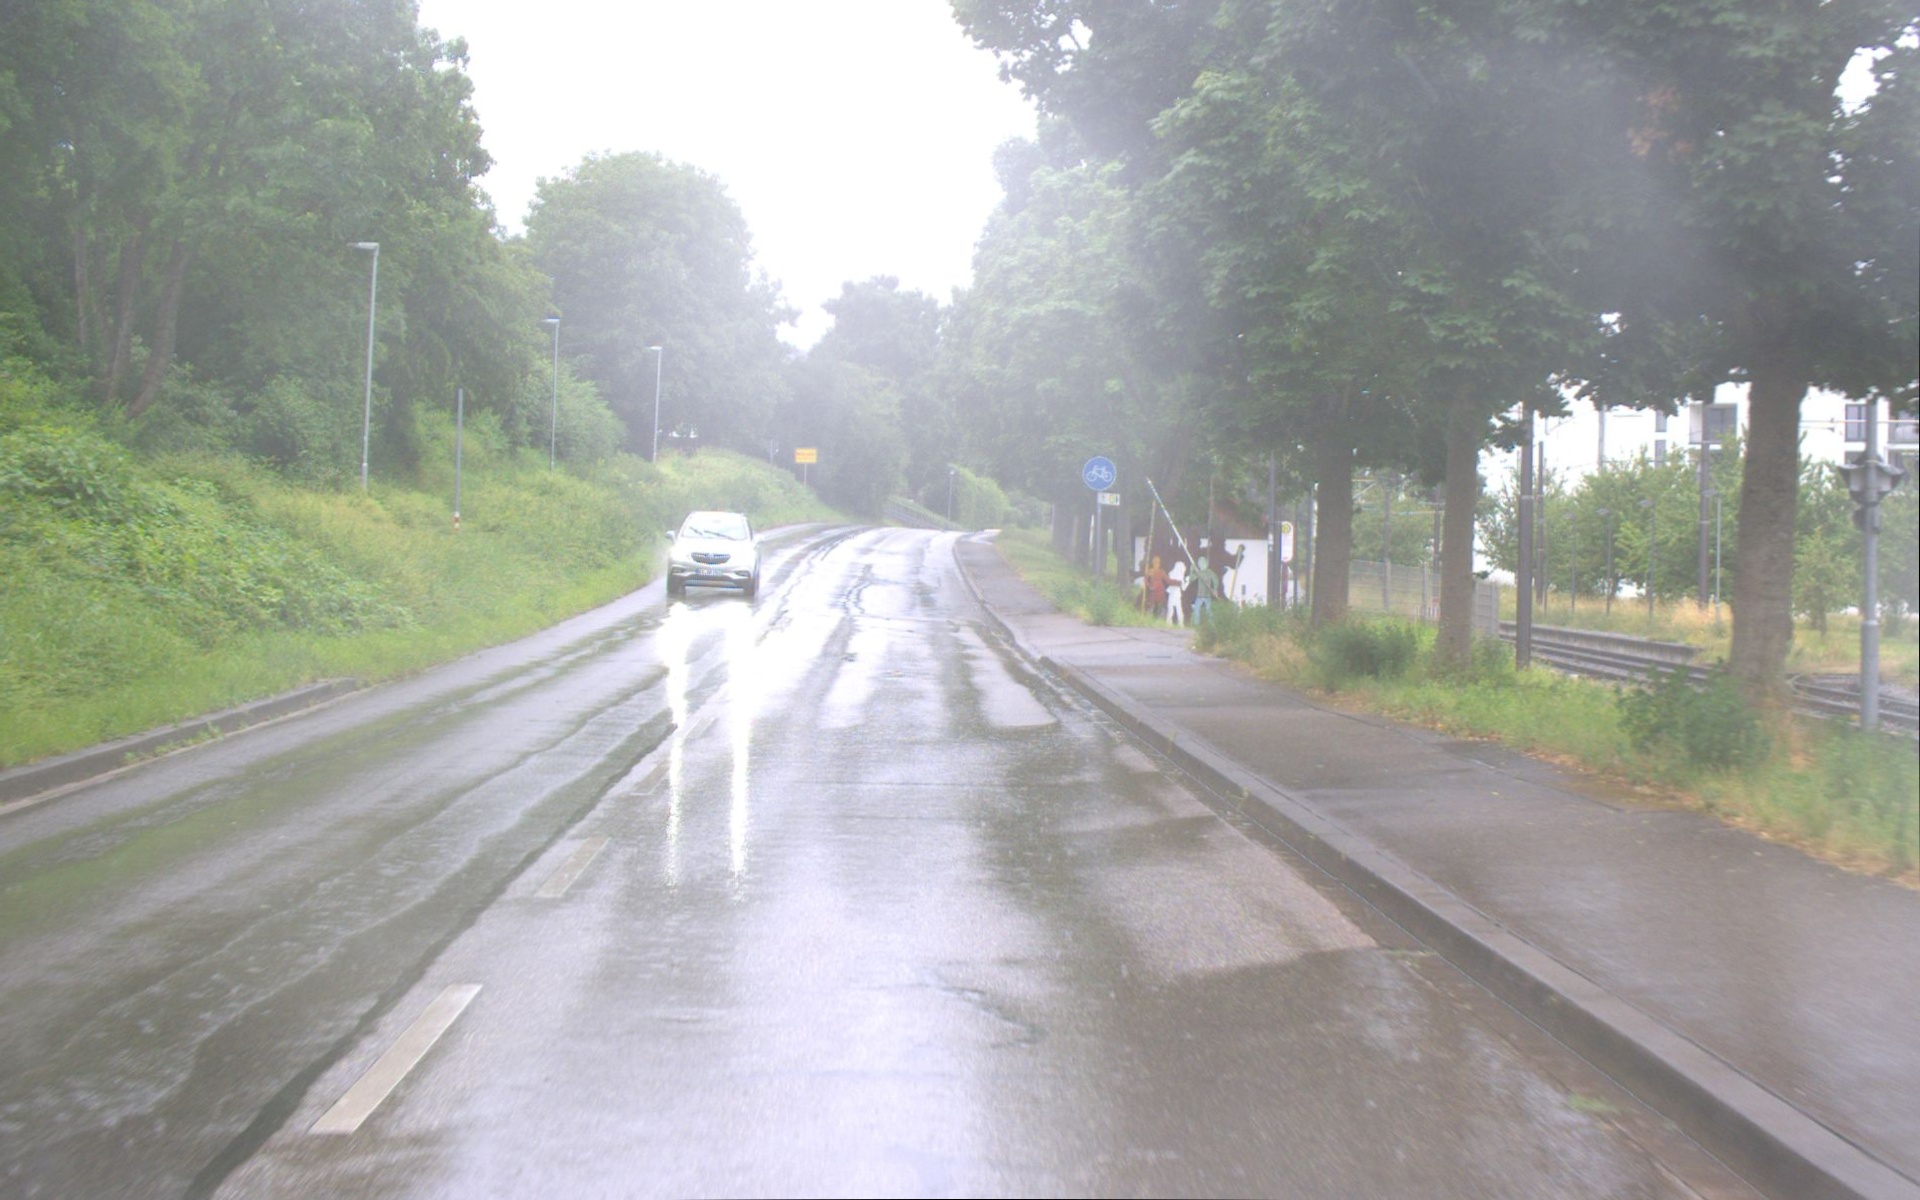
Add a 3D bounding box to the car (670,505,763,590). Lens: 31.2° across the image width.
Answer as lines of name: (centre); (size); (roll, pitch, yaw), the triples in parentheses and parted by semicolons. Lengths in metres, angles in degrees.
car: (-4.971, -1.098, 70.574); (1.744, 1.606, 4.089); (2, 2, -3)
